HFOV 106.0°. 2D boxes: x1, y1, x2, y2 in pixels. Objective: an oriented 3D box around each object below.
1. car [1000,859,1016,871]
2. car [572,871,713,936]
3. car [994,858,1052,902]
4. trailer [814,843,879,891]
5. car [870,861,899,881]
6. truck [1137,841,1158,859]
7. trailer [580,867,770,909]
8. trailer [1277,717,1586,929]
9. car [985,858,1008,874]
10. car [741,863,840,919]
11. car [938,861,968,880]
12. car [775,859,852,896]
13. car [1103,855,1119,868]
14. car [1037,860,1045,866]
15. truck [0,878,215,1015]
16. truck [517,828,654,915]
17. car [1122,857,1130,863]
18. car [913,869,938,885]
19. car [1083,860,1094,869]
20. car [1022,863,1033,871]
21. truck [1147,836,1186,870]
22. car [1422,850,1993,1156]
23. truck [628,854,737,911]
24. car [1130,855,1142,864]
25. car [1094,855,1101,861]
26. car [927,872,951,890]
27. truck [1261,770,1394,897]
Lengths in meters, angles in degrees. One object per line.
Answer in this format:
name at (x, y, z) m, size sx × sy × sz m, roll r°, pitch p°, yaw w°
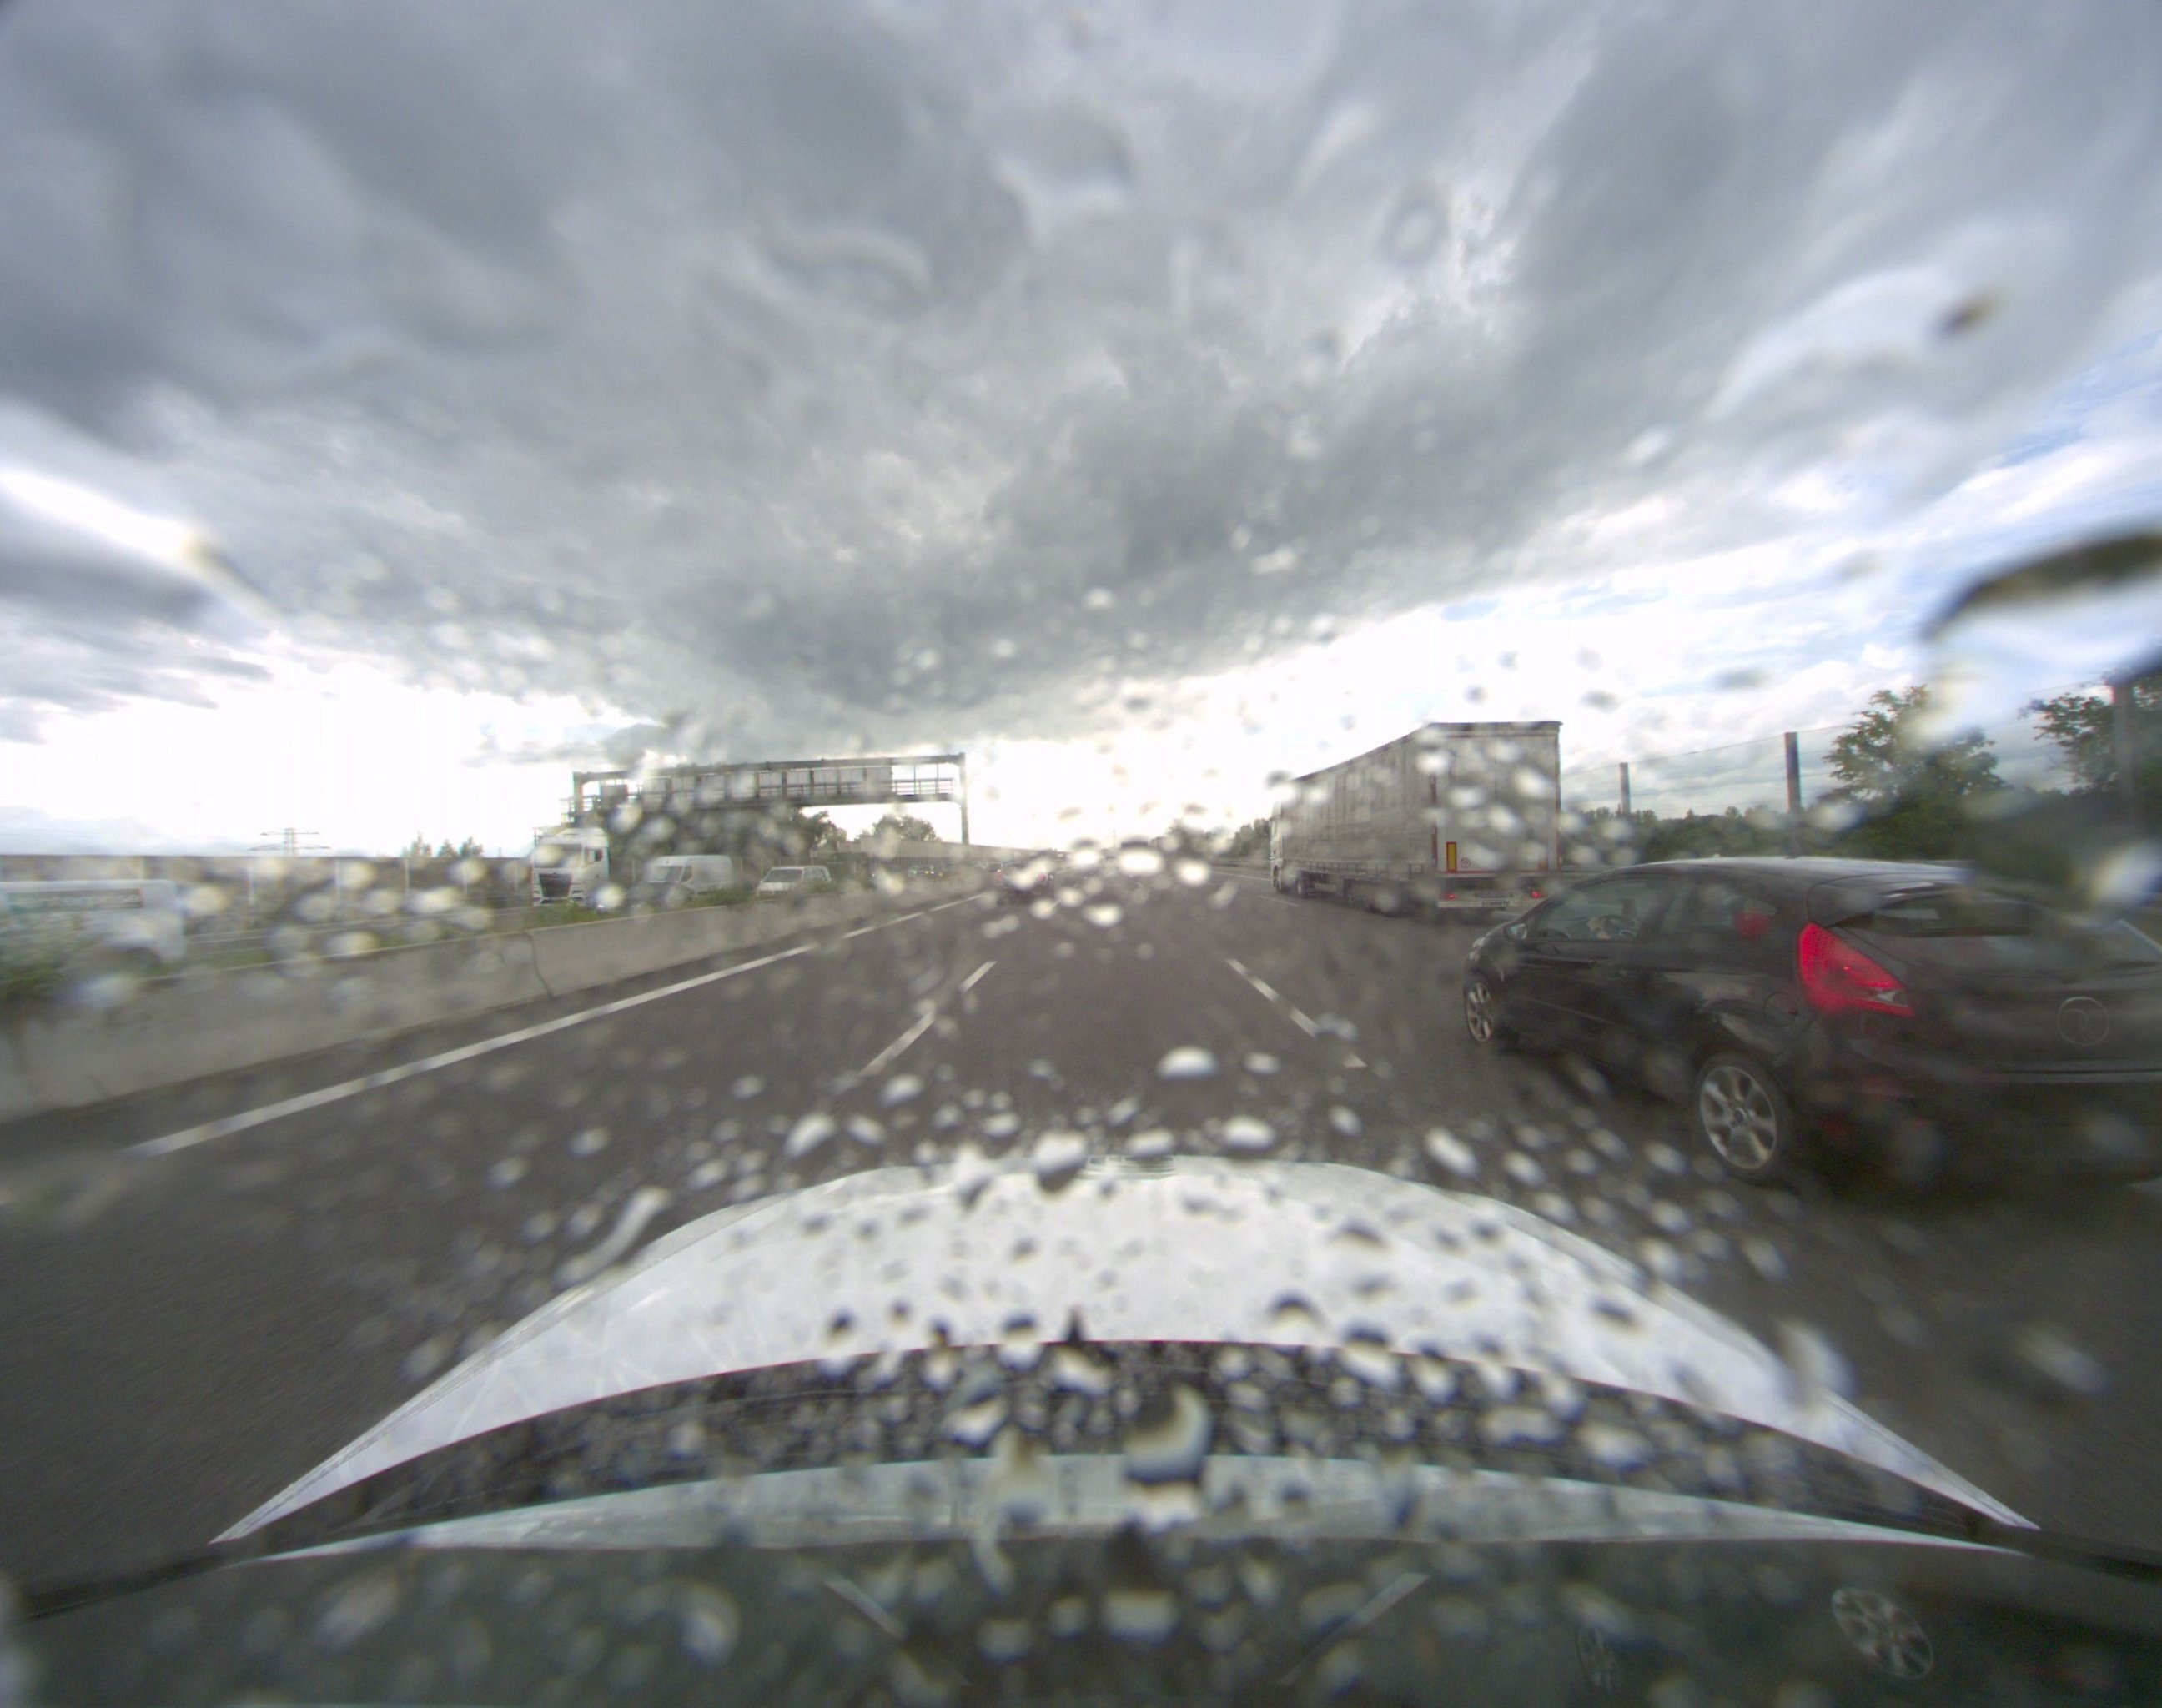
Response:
car at (-10.281, 1.558, 114.710) m, size 1.740 × 1.630 × 3.750 m, roll -2°, pitch 0°, yaw 2°
car at (-16.764, 1.808, 31.558) m, size 2.235 × 2.114 × 5.544 m, roll -2°, pitch 0°, yaw 2°
car at (-2.038, 0.884, 29.760) m, size 1.755 × 1.369 × 5.059 m, roll -1°, pitch 0°, yaw 0°
trailer at (-16.269, 0.860, 56.850) m, size 2.440 × 3.138 × 6.054 m, roll -2°, pitch 0°, yaw 2°
car at (-18.977, 1.641, 78.801) m, size 1.741 × 1.847 × 4.166 m, roll -2°, pitch 0°, yaw 1°
truck at (15.502, -0.865, 191.815) m, size 4.228 × 4.176 × 11.993 m, roll -1°, pitch 0°, yaw 1°
trailer at (-23.804, 1.866, 49.652) m, size 2.742 × 1.828 × 16.358 m, roll -2°, pitch 0°, yaw 2°
trailer at (8.426, -0.630, 22.705) m, size 2.950 × 4.020 × 14.124 m, roll -1°, pitch 0°, yaw 2°
car at (-10.237, 1.443, 98.697) m, size 1.872 × 1.744 × 5.115 m, roll -2°, pitch 0°, yaw 4°
car at (-12.868, 1.561, 36.549) m, size 2.221 × 2.237 × 5.516 m, roll -2°, pitch 0°, yaw 2°
car at (-11.881, 1.503, 75.777) m, size 1.809 × 1.709 × 4.809 m, roll -2°, pitch 0°, yaw 2°
car at (-16.511, 1.378, 50.721) m, size 2.440 × 2.051 × 6.197 m, roll -2°, pitch 0°, yaw 2°
car at (3.625, 0.916, 98.483) m, size 1.767 × 1.441 × 4.054 m, roll -1°, pitch 0°, yaw 0°
car at (-11.417, 2.470, 231.934) m, size 1.740 × 1.525 × 5.143 m, roll -2°, pitch 0°, yaw 3°
truck at (-17.527, 1.479, 12.594) m, size 2.236 × 2.000 × 5.546 m, roll -2°, pitch 0°, yaw 1°
truck at (-24.229, 0.810, 40.239) m, size 2.742 × 3.887 × 6.054 m, roll -2°, pitch 0°, yaw 2°
car at (10.736, 1.408, 194.412) m, size 1.829 × 1.441 × 4.056 m, roll -1°, pitch 0°, yaw 1°
car at (-18.061, 2.660, 94.585) m, size 1.815 × 1.630 × 4.527 m, roll -2°, pitch 0°, yaw 2°
car at (1.265, 1.887, 142.078) m, size 1.767 × 1.441 × 3.873 m, roll -1°, pitch 0°, yaw 0°
car at (-11.261, 2.687, 171.191) m, size 1.740 × 1.525 × 4.930 m, roll -2°, pitch 0°, yaw 3°
truck at (11.672, -0.125, 112.141) m, size 4.166 × 4.288 × 12.613 m, roll 0°, pitch 0°, yaw 1°
car at (3.685, 0.718, 5.511) m, size 1.442 × 1.441 × 3.164 m, roll -1°, pitch 0°, yaw 1°
truck at (-20.222, 1.366, 41.797) m, size 2.236 × 2.604 × 6.559 m, roll -2°, pitch 0°, yaw 1°
car at (9.213, 0.862, 136.136) m, size 1.829 × 1.441 × 4.056 m, roll -1°, pitch 0°, yaw 1°
car at (4.475, 0.991, 218.799) m, size 1.767 × 1.441 × 4.054 m, roll -1°, pitch 0°, yaw -1°
car at (-14.575, 2.764, 83.907) m, size 1.676 × 1.577 × 3.876 m, roll -2°, pitch 0°, yaw 1°
truck at (8.666, -0.676, 29.509) m, size 2.950 × 4.020 × 6.591 m, roll -1°, pitch 0°, yaw 2°
